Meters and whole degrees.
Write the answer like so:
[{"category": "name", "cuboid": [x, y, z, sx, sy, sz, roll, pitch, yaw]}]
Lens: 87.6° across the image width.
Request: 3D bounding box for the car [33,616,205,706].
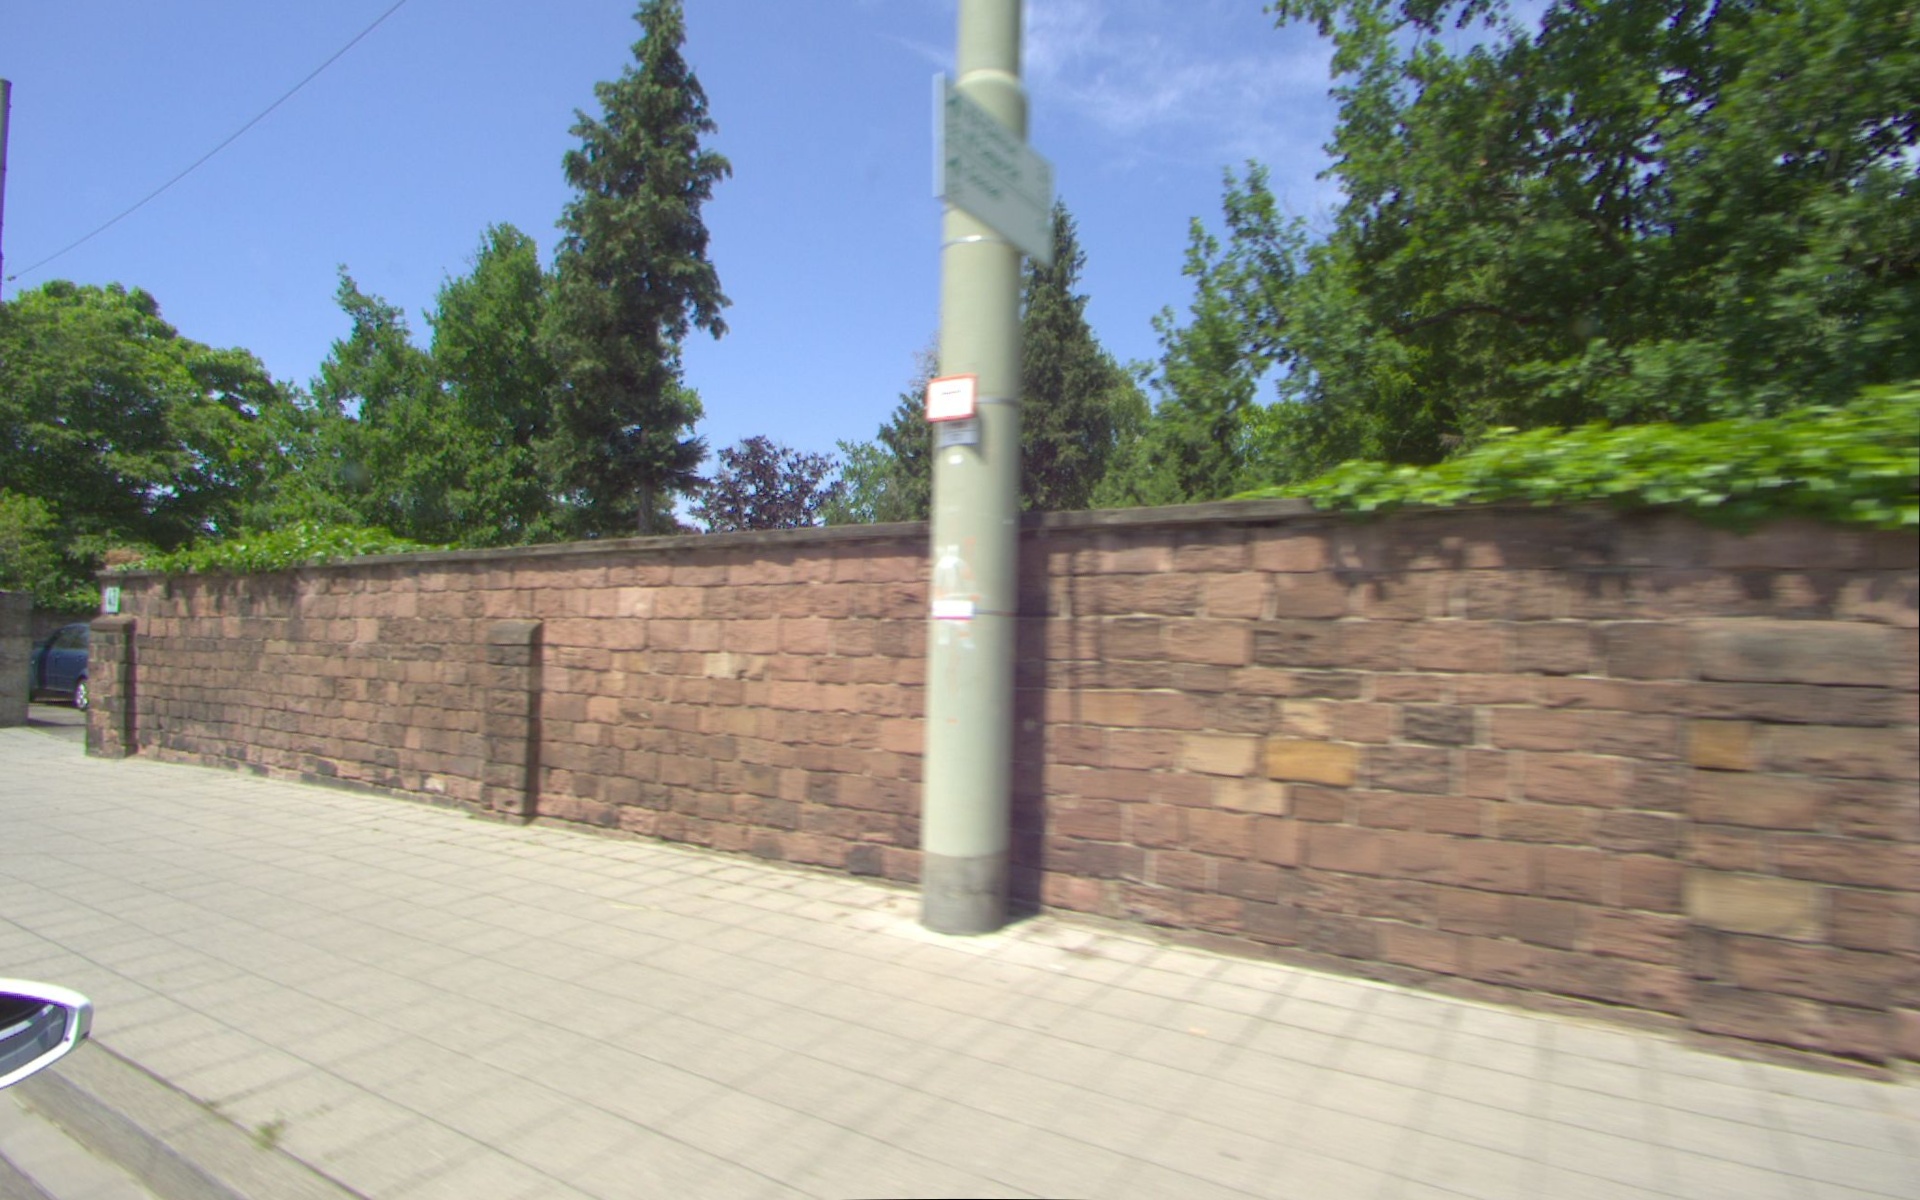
[{"category": "car", "cuboid": [-15.457, 1.097, 18.399, 2.901, 1.500, 1.480, 0, -3, 31]}]
